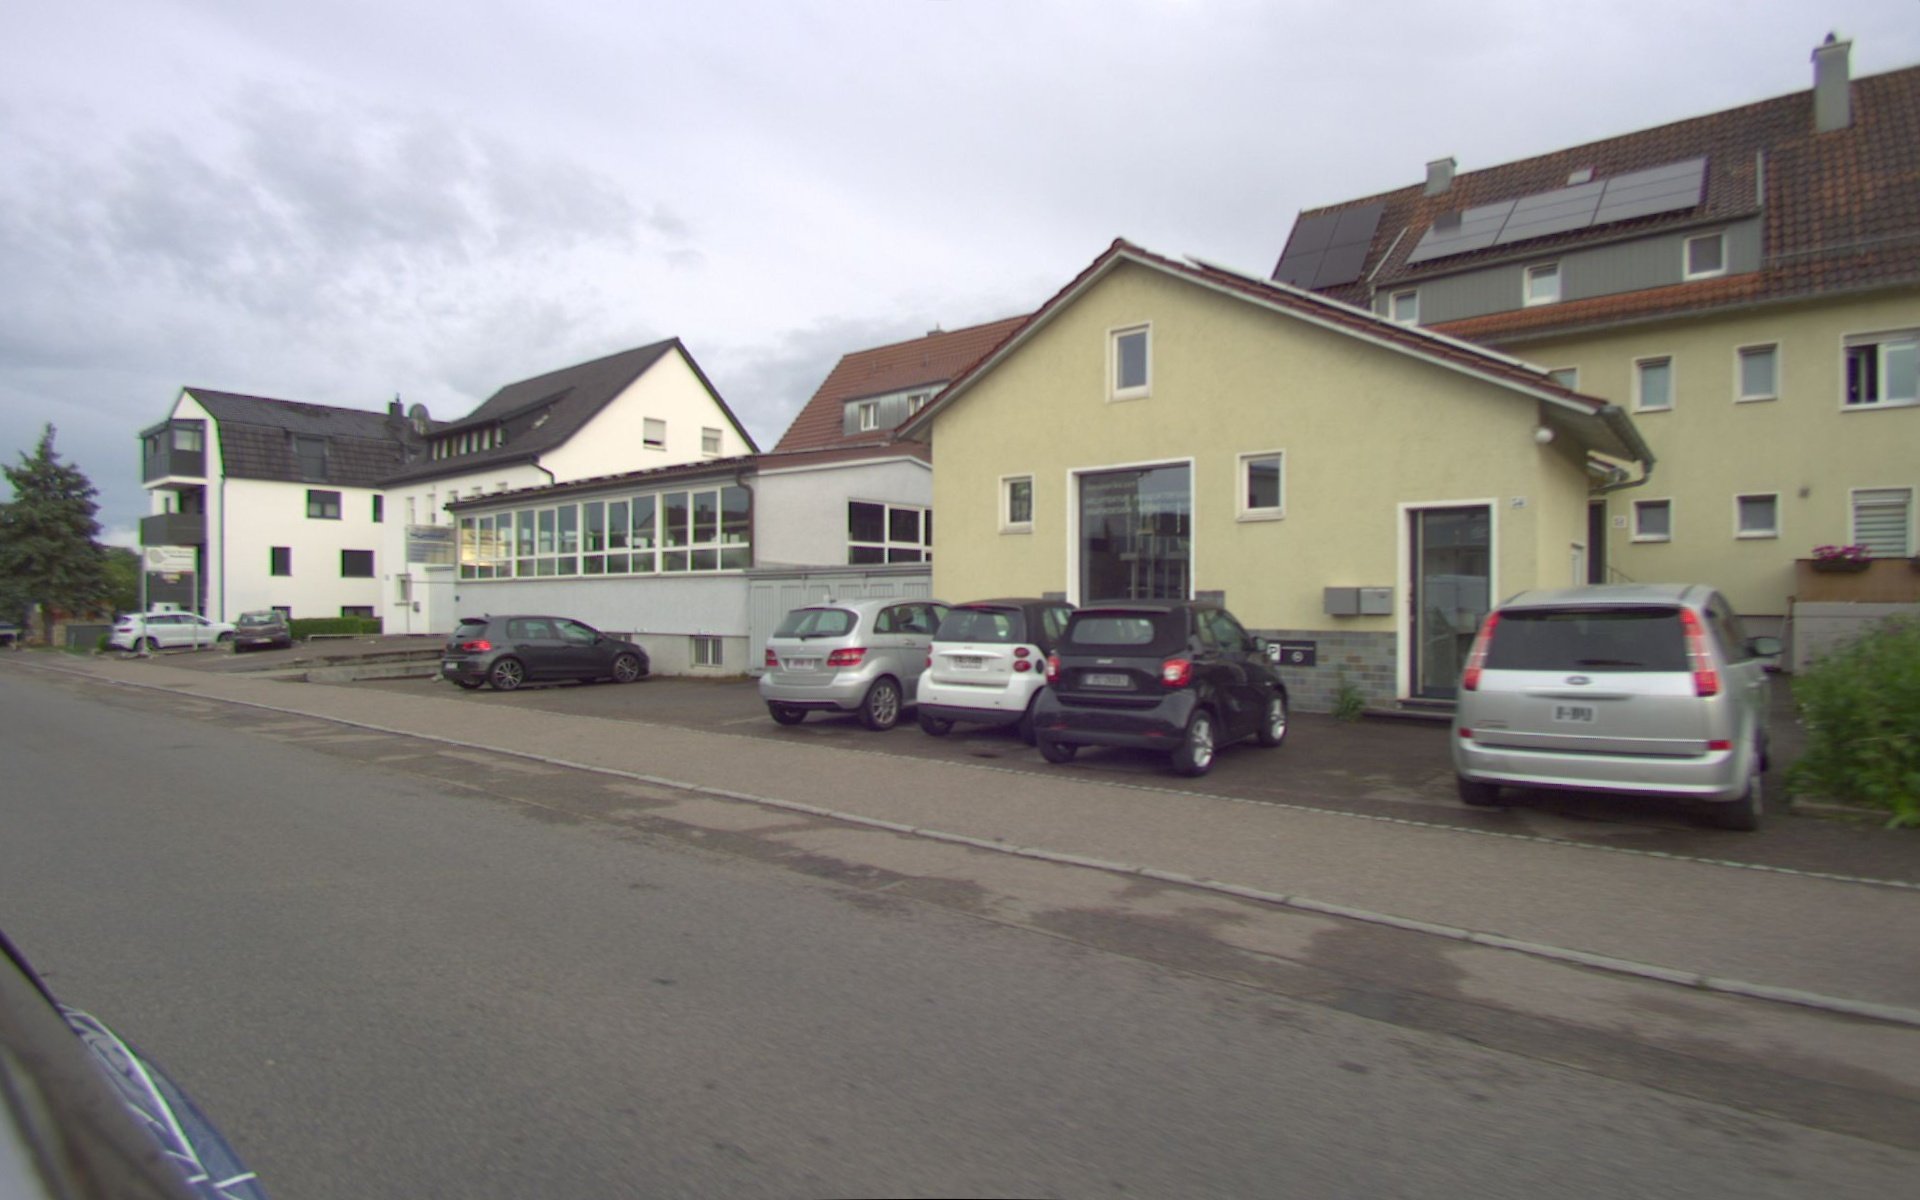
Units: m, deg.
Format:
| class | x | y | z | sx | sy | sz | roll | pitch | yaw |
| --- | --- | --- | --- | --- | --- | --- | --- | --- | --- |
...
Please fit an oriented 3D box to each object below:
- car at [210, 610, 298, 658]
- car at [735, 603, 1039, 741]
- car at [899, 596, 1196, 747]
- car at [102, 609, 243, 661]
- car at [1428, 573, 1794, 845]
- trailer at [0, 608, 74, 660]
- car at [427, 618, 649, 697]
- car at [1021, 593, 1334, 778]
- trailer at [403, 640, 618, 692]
| class | x | y | z | sx | sy | sz | roll | pitch | yaw |
| --- | --- | --- | --- | --- | --- | --- | --- | --- | --- |
| car | -26.344 | 1.233 | 37.728 | 4.000 | 1.541 | 1.800 | -1 | 4 | 43 |
| car | -0.816 | 0.826 | 13.573 | 1.995 | 1.544 | 4.049 | -1 | -1 | 35 |
| car | 1.238 | 0.759 | 12.516 | 1.810 | 1.544 | 4.046 | -2 | -1 | 37 |
| car | -30.903 | 1.343 | 39.785 | 1.998 | 1.659 | 3.949 | -2 | 2 | 38 |
| car | 5.123 | 0.639 | 7.888 | 1.880 | 1.525 | 4.046 | -2 | -1 | 37 |
| trailer | -57.978 | 2.081 | 62.949 | 2.167 | 3.069 | 4.008 | -1 | 0 | 40 |
| car | -8.520 | 1.109 | 20.695 | 1.766 | 1.449 | 3.835 | -2 | -2 | 39 |
| car | 2.428 | 0.727 | 10.470 | 1.752 | 1.514 | 4.049 | -2 | -1 | 35 |
| trailer | -10.127 | 1.445 | 23.076 | 1.792 | 0.950 | 4.156 | -2 | -1 | 38 |
